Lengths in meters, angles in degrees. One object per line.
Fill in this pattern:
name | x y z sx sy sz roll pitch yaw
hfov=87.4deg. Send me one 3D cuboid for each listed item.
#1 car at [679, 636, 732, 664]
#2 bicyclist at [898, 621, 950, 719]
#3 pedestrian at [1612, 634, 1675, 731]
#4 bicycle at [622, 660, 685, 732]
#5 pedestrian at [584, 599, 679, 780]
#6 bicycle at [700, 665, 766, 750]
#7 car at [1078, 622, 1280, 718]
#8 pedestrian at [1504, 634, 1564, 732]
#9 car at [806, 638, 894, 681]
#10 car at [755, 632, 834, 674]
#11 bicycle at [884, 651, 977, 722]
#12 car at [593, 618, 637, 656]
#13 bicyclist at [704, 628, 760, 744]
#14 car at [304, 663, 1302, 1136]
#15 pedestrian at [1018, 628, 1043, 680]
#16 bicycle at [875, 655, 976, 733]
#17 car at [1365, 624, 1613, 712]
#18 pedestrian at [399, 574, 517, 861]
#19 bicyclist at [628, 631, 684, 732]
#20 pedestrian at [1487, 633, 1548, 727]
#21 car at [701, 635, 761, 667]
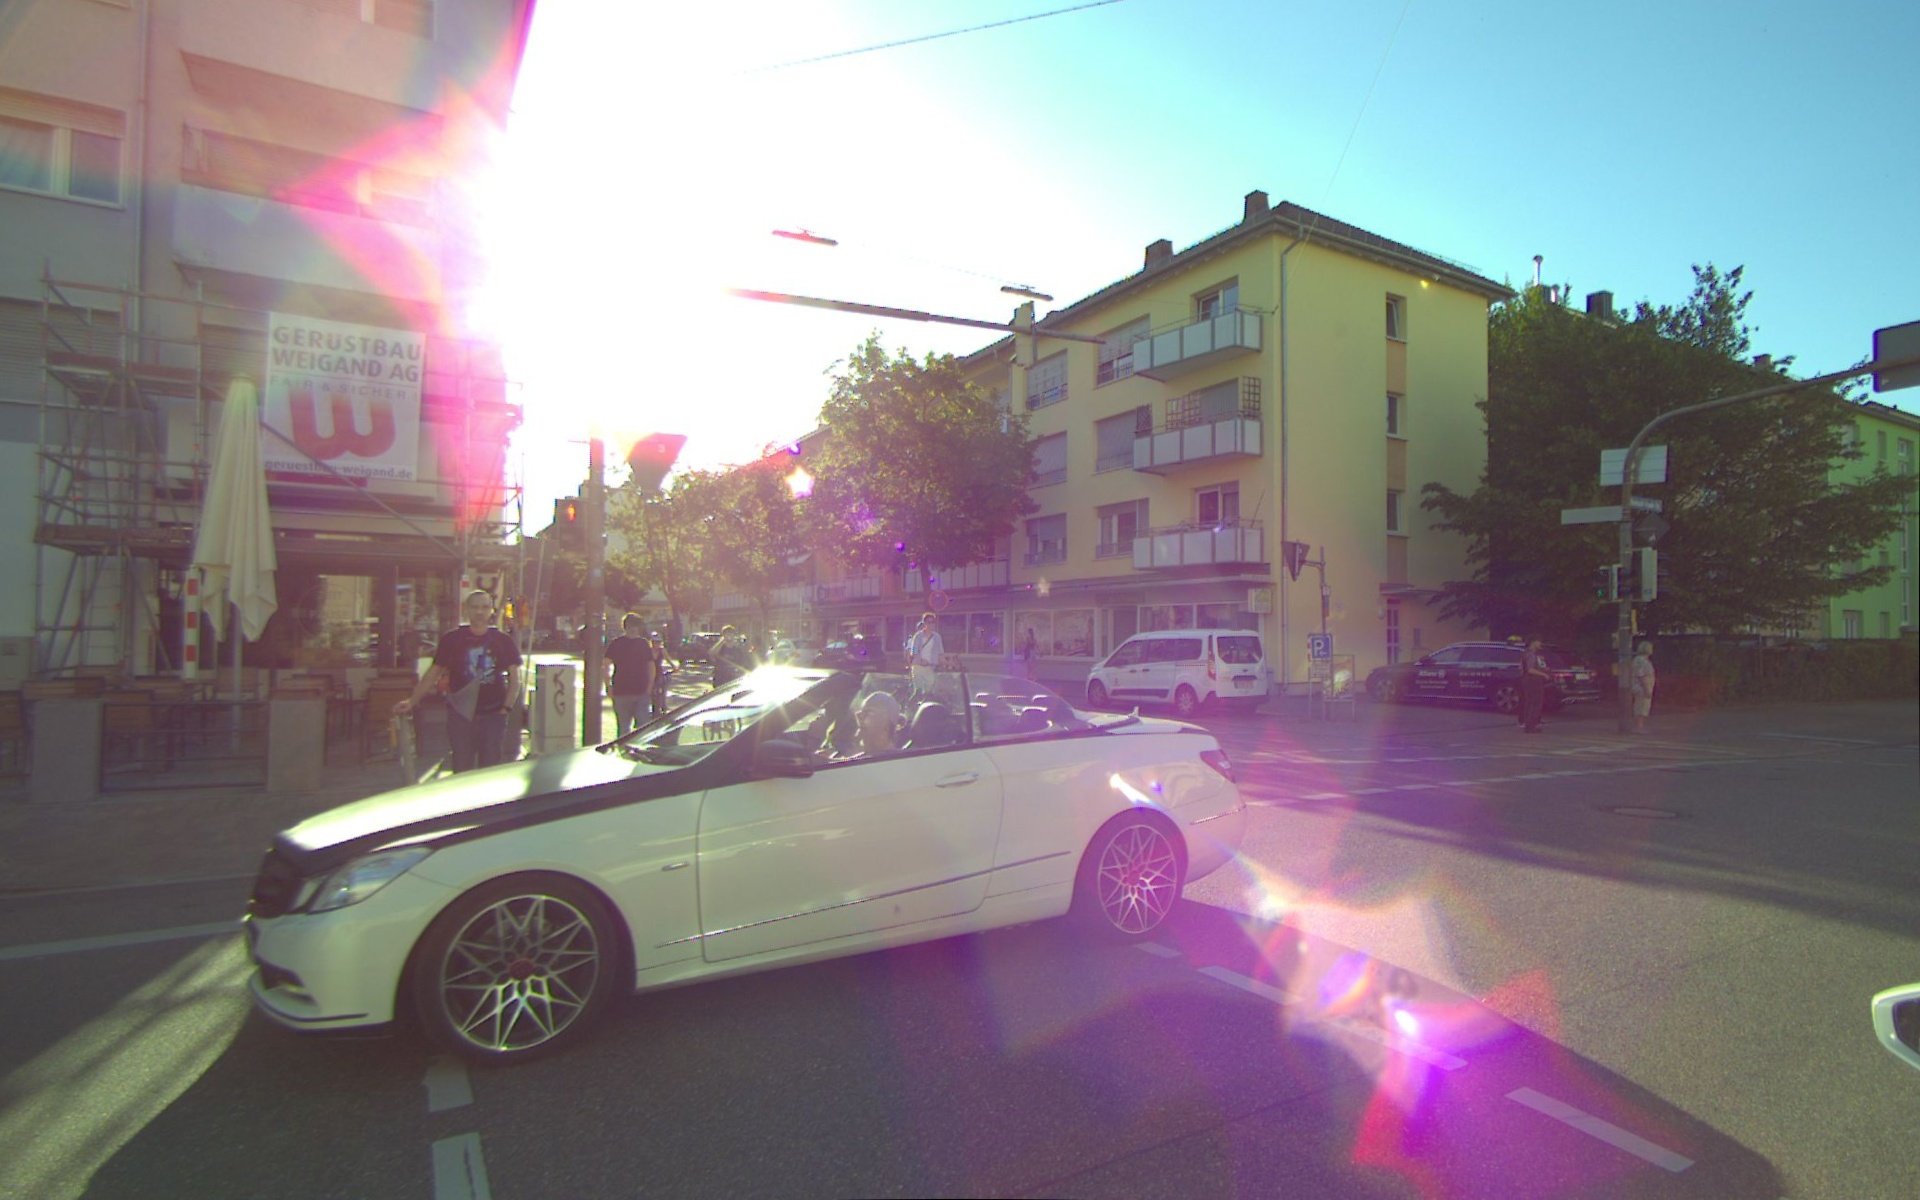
car | -13.981 2.714 55.048 1.841 1.483 3.970 2 -2 -29
bicyclist | -0.671 1.267 18.488 0.743 1.744 0.602 0 -1 -36
pedestrian | 12.060 1.442 17.719 0.742 1.615 0.603 2 1 -33
bicycle | -5.080 1.567 16.777 0.715 1.103 2.268 3 -4 -11
pedestrian | -3.881 1.047 11.869 0.804 2.040 0.641 5 0 -29
bicycle | -3.425 1.571 15.053 0.717 1.103 1.991 0 -2 -20
car | 4.689 1.464 22.189 1.886 1.872 4.452 2 -2 -30
pedestrian | 10.158 1.449 17.773 0.603 1.679 0.742 2 -2 -37
car | -4.103 2.150 37.072 1.841 1.483 3.970 2 -2 -29
car | -6.938 2.149 41.711 1.821 1.635 4.375 2 -2 -30
bicycle | -0.574 1.540 18.347 0.721 1.172 1.979 0 -2 -35
car | -22.641 2.410 65.856 1.843 2.390 3.965 1 -2 -32
bicyclist | -3.414 1.268 15.031 0.738 1.675 0.670 0 -1 -20
car | -0.532 1.002 4.923 4.392 1.337 1.832 2 -3 -32
pedestrian | 2.370 1.820 33.888 0.640 1.742 0.573 2 -2 -32
bicycle | -0.611 1.542 16.918 0.721 1.182 1.979 0 -2 -35
car | 11.533 1.418 22.238 1.823 1.635 4.565 2 -1 -32
pedestrian | -3.809 0.853 7.627 0.730 2.040 0.635 1 -2 -29
bicyclist | -5.081 1.360 16.838 0.737 1.614 0.688 3 -4 -11
pedestrian | 10.288 1.462 18.556 0.735 1.651 0.609 3 1 7
car | -11.362 2.489 49.616 1.841 1.483 3.970 2 -2 -29
